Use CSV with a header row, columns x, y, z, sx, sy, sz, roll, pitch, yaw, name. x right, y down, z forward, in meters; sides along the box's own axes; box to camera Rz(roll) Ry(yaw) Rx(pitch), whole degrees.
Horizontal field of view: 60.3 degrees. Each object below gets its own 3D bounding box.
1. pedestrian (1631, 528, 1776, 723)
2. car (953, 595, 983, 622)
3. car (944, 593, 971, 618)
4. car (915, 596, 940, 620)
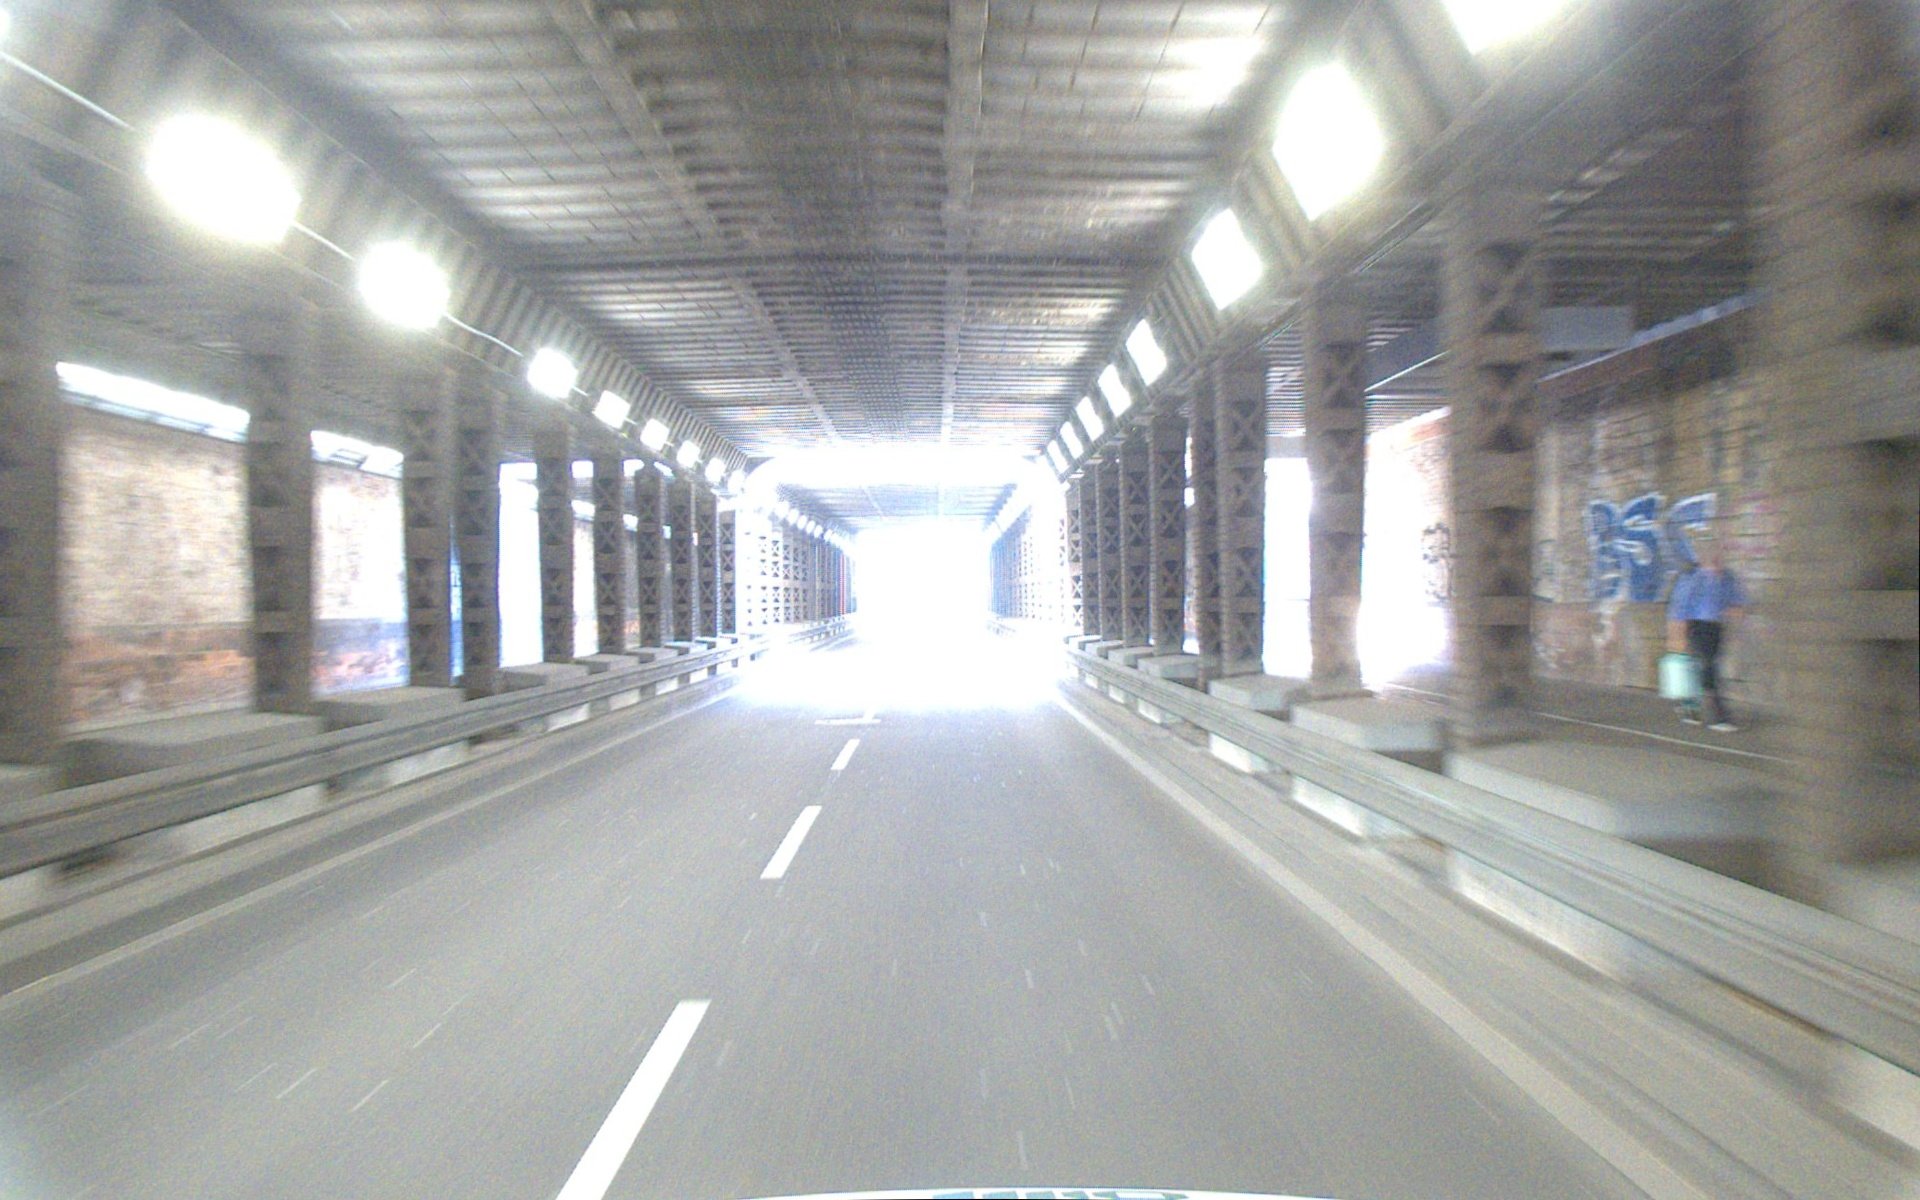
x,y,z,sx,sy,sz,roll,pitch,yaw,name
6.922,0.226,15.451,0.783,1.731,1.111,-2,0,-2,pedestrian
0.539,0.580,113.745,1.953,1.815,3.999,-1,0,-1,car
-0.193,0.427,123.706,1.953,1.815,3.999,-1,0,-1,car
-2.539,0.586,129.934,1.953,1.815,3.999,-1,0,-1,car
